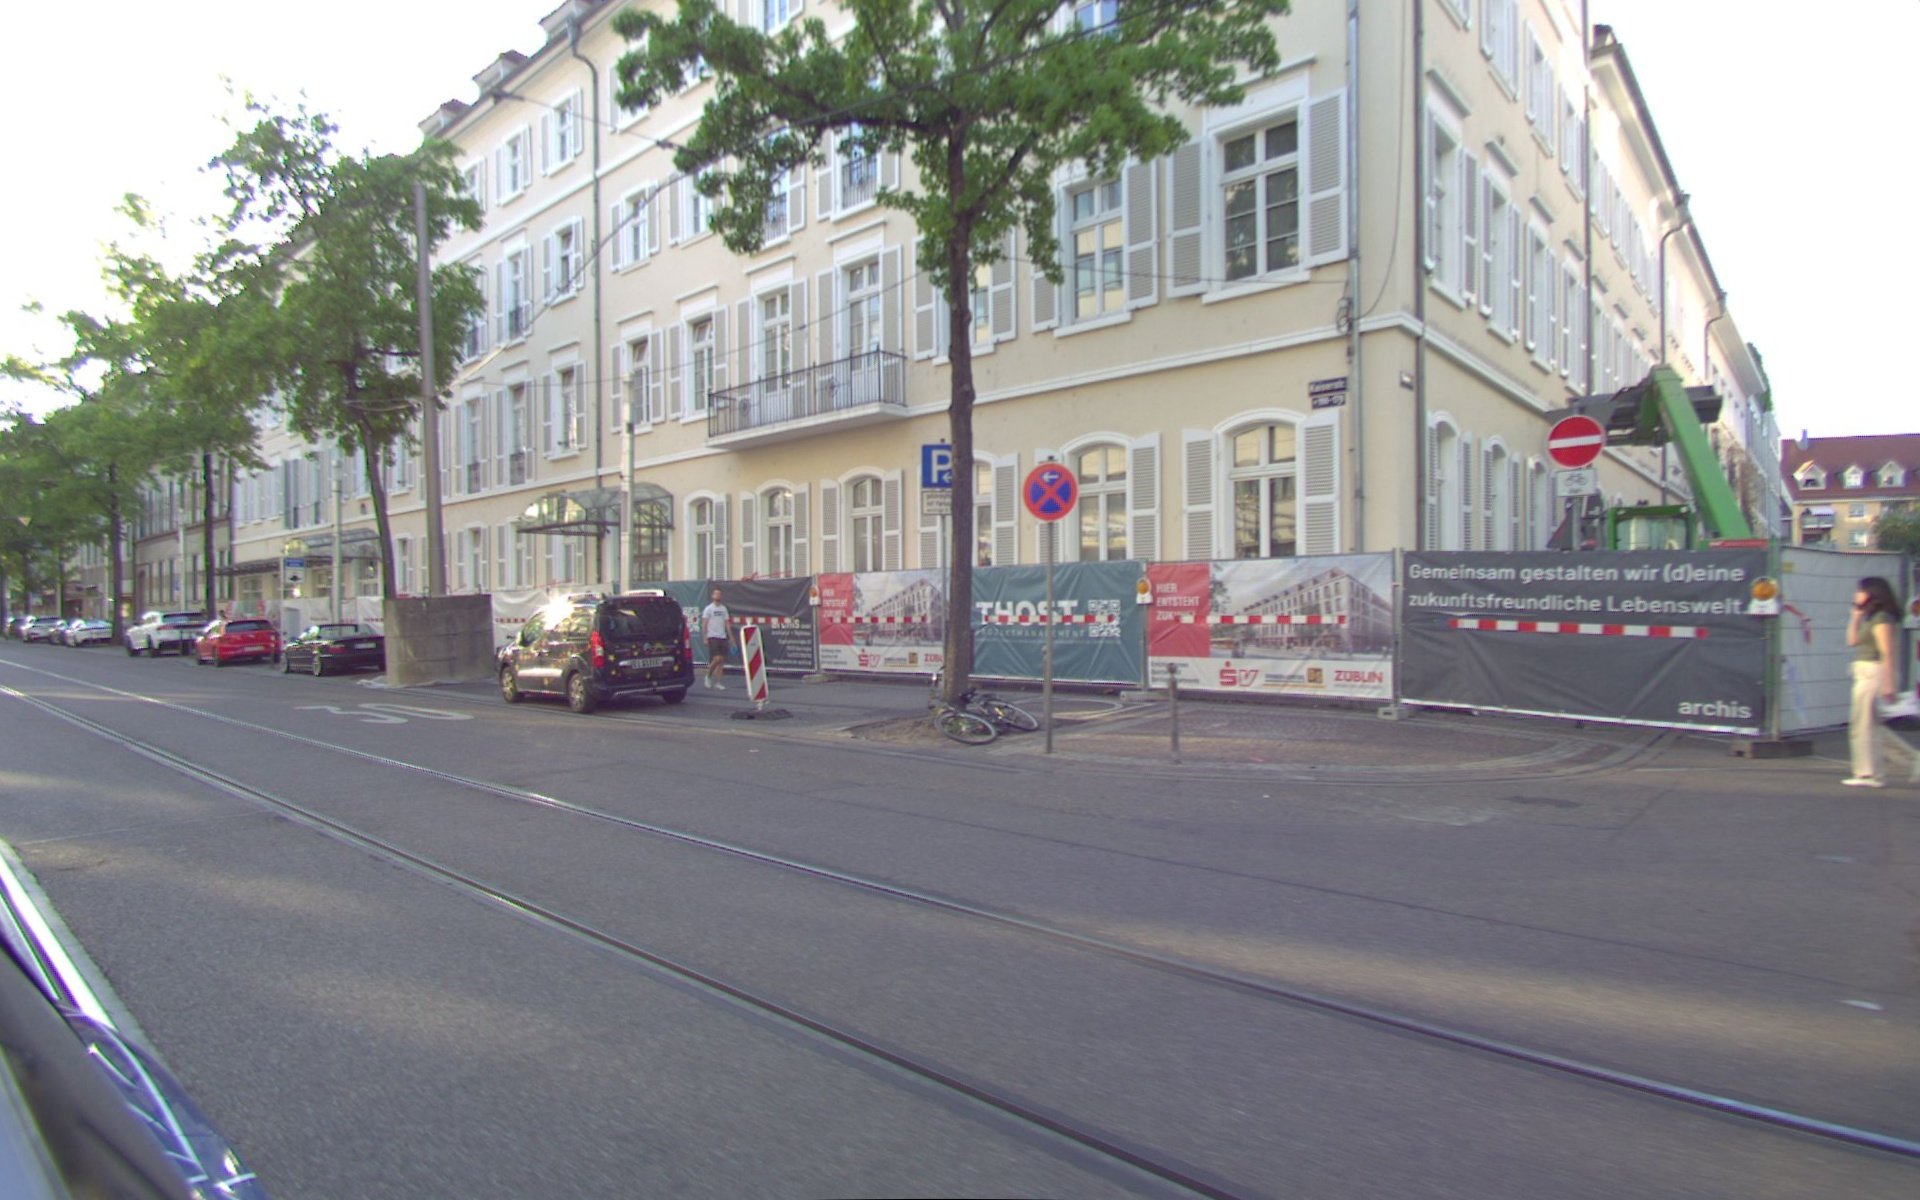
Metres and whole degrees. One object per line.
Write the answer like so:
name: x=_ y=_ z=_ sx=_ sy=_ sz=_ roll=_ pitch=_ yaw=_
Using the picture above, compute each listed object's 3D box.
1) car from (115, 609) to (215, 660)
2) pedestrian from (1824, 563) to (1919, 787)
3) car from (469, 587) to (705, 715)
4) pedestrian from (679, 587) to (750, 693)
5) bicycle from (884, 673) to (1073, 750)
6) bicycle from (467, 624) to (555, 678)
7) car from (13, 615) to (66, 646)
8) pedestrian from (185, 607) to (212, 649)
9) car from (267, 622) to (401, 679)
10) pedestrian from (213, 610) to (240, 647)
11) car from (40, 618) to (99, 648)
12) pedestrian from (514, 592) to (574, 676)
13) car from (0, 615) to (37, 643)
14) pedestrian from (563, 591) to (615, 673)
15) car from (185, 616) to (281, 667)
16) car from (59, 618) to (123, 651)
car: x=-30.264 y=1.289 z=38.476 sx=4.945 sy=1.701 sz=1.848 roll=-1 pitch=2 yaw=39
pedestrian: x=7.372 y=0.561 z=7.836 sx=0.967 sy=1.669 sz=0.699 roll=-2 pitch=-2 yaw=43
car: x=-6.332 y=0.761 z=16.898 sx=4.559 sy=1.846 sz=1.837 roll=-1 pitch=0 yaw=43
pedestrian: x=-4.421 y=0.701 z=18.226 sx=0.984 sy=1.805 sz=0.766 roll=-1 pitch=2 yaw=43
bicycle: x=0.225 y=1.228 z=11.548 sx=1.283 sy=0.613 sz=1.775 roll=-1 pitch=0 yaw=45
bicycle: x=-10.150 y=1.143 z=22.855 sx=2.039 sy=1.130 sz=0.753 roll=-1 pitch=2 yaw=31
car: x=-58.116 y=1.903 z=63.873 sx=4.764 sy=1.754 sz=1.927 roll=-2 pitch=2 yaw=42
pedestrian: x=-33.307 y=1.209 z=44.271 sx=0.933 sy=1.755 sz=0.736 roll=-1 pitch=2 yaw=42
car: x=-16.274 y=1.244 z=26.217 sx=4.506 sy=1.254 sz=1.700 roll=-1 pitch=2 yaw=42
pedestrian: x=-32.623 y=1.266 z=45.002 sx=0.933 sy=1.592 sz=0.736 roll=-1 pitch=2 yaw=42
car: x=-49.456 y=1.816 z=56.162 sx=4.338 sy=1.477 sz=1.724 roll=-2 pitch=2 yaw=39
pedestrian: x=-9.376 y=0.754 z=22.808 sx=0.884 sy=1.795 sz=0.856 roll=-1 pitch=2 yaw=41
car: x=-69.049 y=2.081 z=73.958 sx=4.764 sy=1.972 sz=1.906 roll=-2 pitch=-2 yaw=42
pedestrian: x=-8.597 y=0.727 z=23.457 sx=0.876 sy=1.826 sz=0.712 roll=-1 pitch=2 yaw=41
car: x=-23.027 y=1.273 z=32.003 sx=4.140 sy=1.416 sz=1.642 roll=-1 pitch=2 yaw=43
car: x=-43.660 y=1.700 z=50.813 sx=4.616 sy=1.477 sz=1.872 roll=-1 pitch=2 yaw=42
